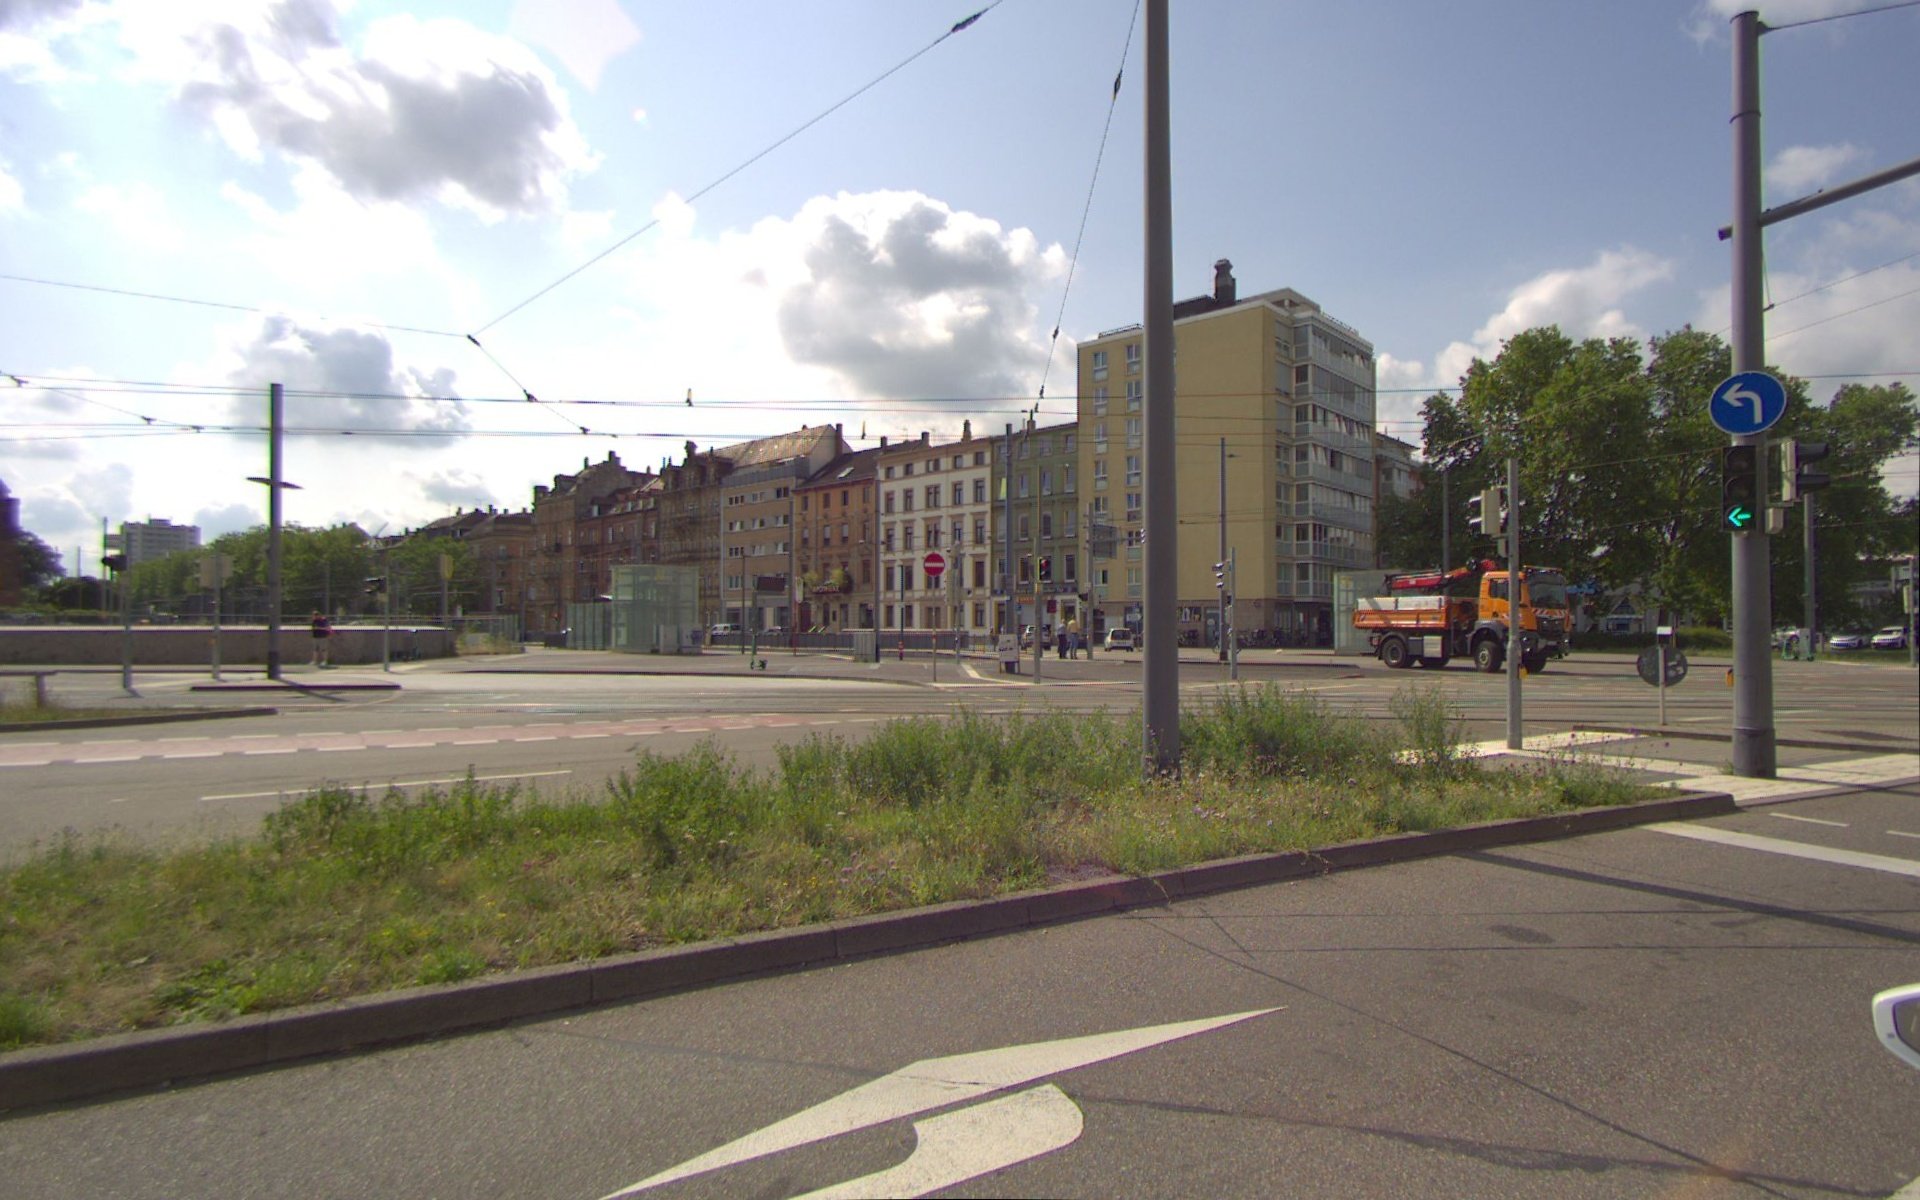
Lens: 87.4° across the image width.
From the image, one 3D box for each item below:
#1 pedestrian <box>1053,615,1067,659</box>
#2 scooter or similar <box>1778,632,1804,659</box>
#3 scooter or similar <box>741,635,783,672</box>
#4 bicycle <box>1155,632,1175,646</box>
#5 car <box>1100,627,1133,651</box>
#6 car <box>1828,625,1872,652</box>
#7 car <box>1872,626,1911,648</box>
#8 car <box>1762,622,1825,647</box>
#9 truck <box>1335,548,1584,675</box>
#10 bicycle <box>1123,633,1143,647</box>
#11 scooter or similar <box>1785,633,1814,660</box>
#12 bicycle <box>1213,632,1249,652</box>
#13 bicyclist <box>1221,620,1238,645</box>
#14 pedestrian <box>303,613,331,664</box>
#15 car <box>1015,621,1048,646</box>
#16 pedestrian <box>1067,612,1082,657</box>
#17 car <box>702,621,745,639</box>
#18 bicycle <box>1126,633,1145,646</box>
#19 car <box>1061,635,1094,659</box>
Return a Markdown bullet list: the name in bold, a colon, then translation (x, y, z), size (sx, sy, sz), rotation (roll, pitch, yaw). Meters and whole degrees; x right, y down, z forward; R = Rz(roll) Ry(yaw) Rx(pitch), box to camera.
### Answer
- **pedestrian**: translation (4.674, 1.713, 46.873), size (0.507, 2.040, 0.502), rotation (-1, -1, 32)
- **scooter or similar**: translation (38.638, 2.117, 46.713), size (0.374, 1.212, 1.065), rotation (2, 0, 7)
- **scooter or similar**: translation (-6.632, 1.774, 33.632), size (1.149, 1.182, 0.810), rotation (-1, -2, 34)
- **bicycle**: translation (14.612, 2.801, 71.479), size (1.444, 0.935, 0.291), rotation (1, 0, 45)
- **car**: translation (9.943, 2.522, 64.108), size (1.743, 1.472, 3.499), rotation (0, -3, 3)
- **car**: translation (73.023, 3.165, 82.412), size (3.966, 2.040, 1.977), rotation (2, 1, -39)
- **car**: translation (74.633, 2.965, 80.481), size (3.966, 1.704, 1.771), rotation (1, -2, -39)
- **car**: translation (75.817, 3.119, 91.449), size (1.973, 2.040, 3.975), rotation (2, 0, -25)
- **truck**: translation (17.708, 0.397, 36.364), size (2.799, 4.062, 8.021), rotation (2, 0, -25)
- **bicycle**: translation (12.598, 2.910, 73.199), size (1.443, 0.935, 0.292), rotation (1, -1, 42)
- **scooter or similar**: translation (39.156, 2.177, 46.865), size (0.374, 1.212, 1.064), rotation (2, 0, -3)
- **bicycle**: translation (15.199, 2.359, 56.318), size (2.068, 1.121, 0.542), rotation (1, -1, -20)
- **bicyclist**: translation (15.095, 1.823, 56.271), size (0.773, 1.354, 0.393), rotation (2, 0, -22)
- **pedestrian**: translation (-22.987, 1.382, 35.919), size (0.552, 1.818, 0.720), rotation (0, -1, -4)
- **car**: translation (4.813, 2.298, 67.967), size (2.021, 1.668, 4.598), rotation (0, -3, 1)
- **pedestrian**: translation (5.254, 1.600, 46.217), size (0.568, 2.040, 0.426), rotation (-1, -1, 32)
- **car**: translation (-25.530, 3.276, 108.321), size (4.679, 1.886, 1.992), rotation (-2, -3, 38)
- **bicycle**: translation (12.808, 2.897, 73.437), size (1.443, 0.935, 0.292), rotation (0, -1, 42)
- **car**: translation (7.627, 3.070, 65.480), size (1.900, 1.479, 4.603), rotation (0, -2, 4)
